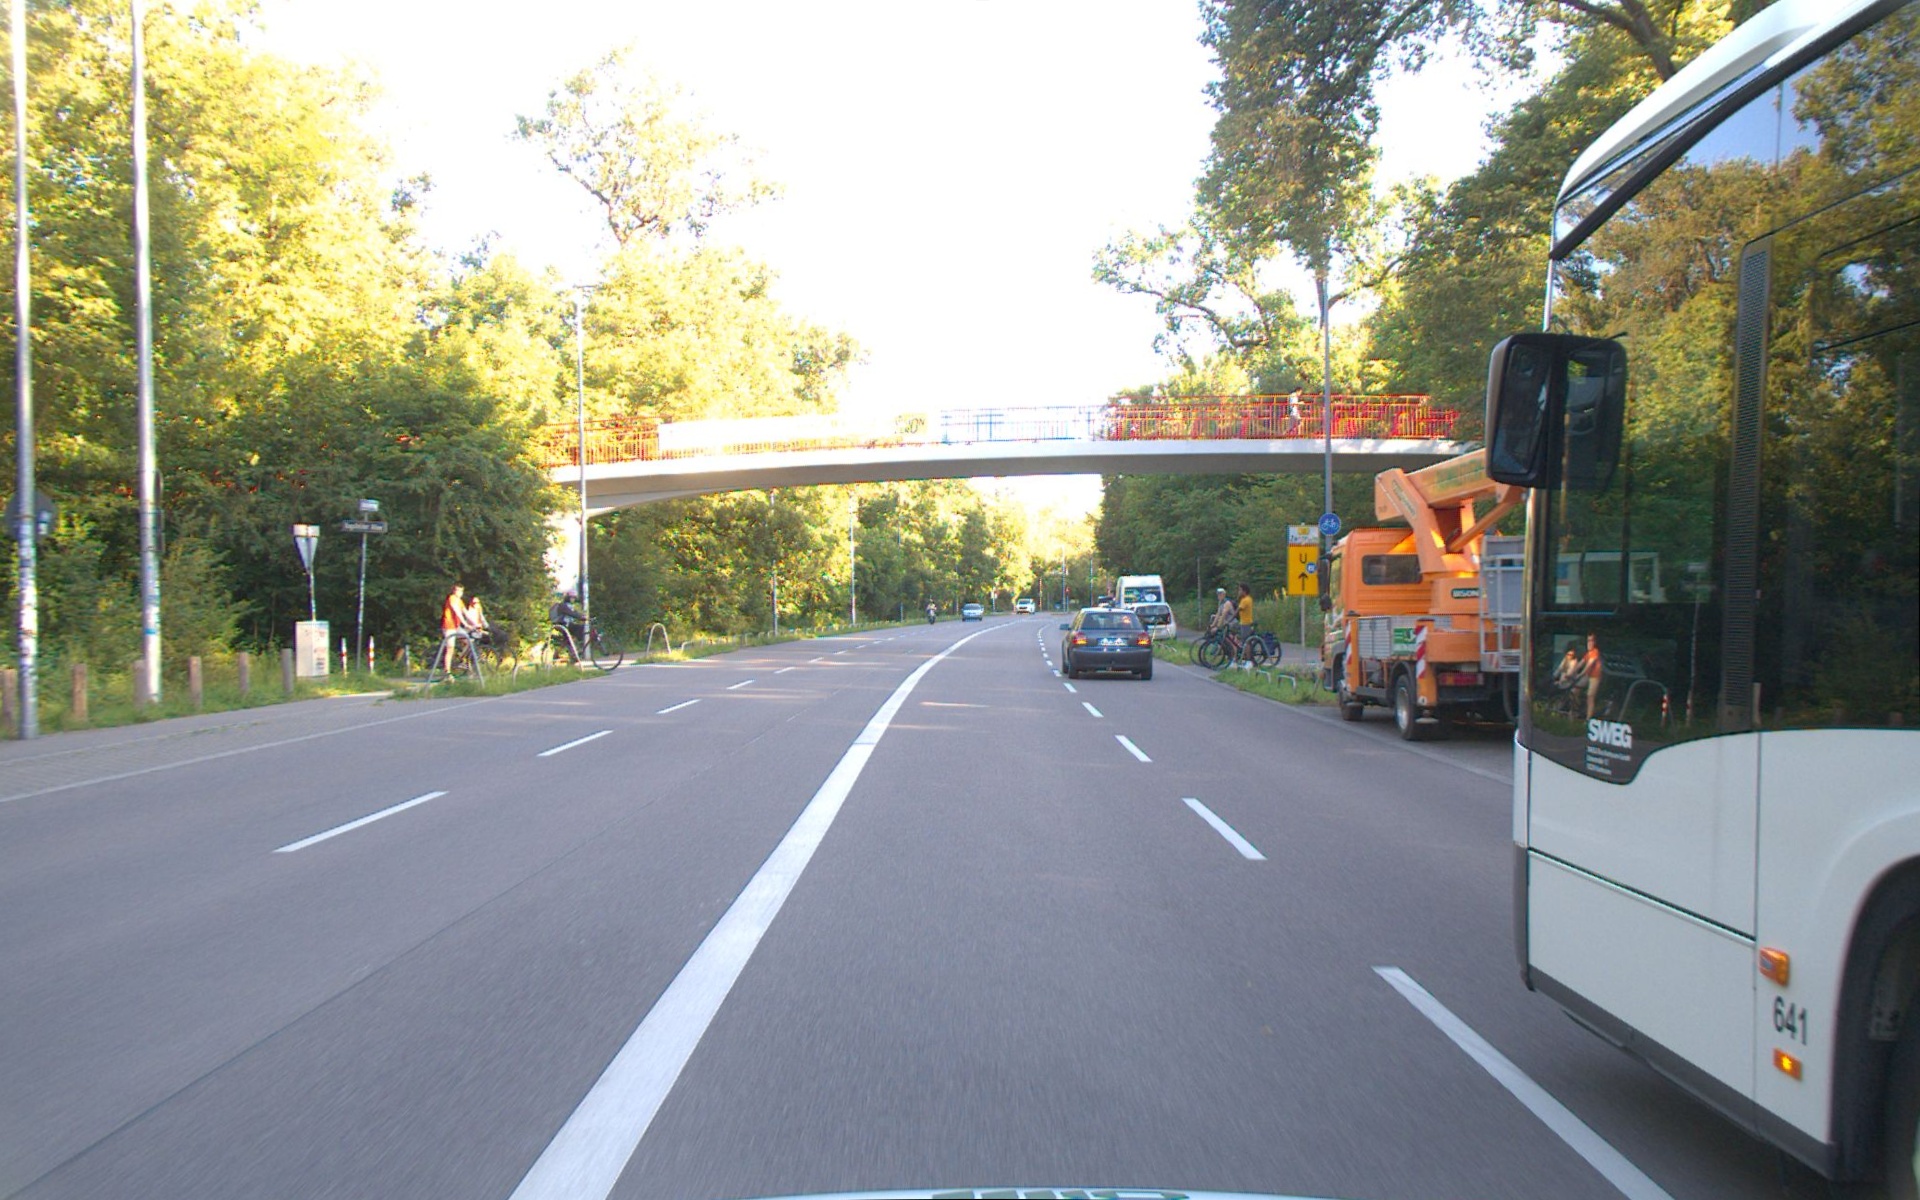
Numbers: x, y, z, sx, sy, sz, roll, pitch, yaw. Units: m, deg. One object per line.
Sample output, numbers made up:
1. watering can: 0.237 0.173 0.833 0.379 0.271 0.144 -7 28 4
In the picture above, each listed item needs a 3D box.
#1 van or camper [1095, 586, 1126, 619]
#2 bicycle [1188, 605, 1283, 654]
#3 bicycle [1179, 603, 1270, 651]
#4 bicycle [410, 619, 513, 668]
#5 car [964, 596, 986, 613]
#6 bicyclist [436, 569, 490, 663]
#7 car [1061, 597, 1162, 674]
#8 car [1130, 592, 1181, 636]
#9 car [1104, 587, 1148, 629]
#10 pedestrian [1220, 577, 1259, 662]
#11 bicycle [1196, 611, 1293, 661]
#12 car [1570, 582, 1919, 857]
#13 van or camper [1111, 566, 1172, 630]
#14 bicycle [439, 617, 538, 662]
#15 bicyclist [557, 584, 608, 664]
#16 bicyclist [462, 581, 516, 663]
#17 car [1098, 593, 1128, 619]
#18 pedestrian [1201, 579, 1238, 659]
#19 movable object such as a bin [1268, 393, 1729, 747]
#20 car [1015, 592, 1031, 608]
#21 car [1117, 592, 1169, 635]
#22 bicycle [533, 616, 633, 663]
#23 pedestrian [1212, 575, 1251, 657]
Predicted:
1. van or camper: 9.638 0.141 106.253 1.853 1.982 5.137 -3 0 5
2. bicycle: 6.376 0.673 38.331 2.020 1.087 0.870 -1 0 -3
3. bicycle: 6.304 0.643 39.474 2.020 1.087 0.870 -1 0 -3
4. bicycle: -10.386 0.907 34.480 1.885 0.951 0.825 -1 0 10
5. car: 1.281 0.359 140.634 1.646 1.431 3.891 -1 0 2
6. bicyclist: -10.354 0.329 34.482 0.778 1.934 0.818 -1 0 10
7. car: 3.061 0.684 34.085 1.692 1.467 4.089 0 0 0
8. car: 6.903 0.466 58.676 1.686 1.522 3.777 0 0 5
9. car: 7.708 0.353 77.196 1.791 1.900 5.076 -1 0 3
10. pedestrian: 6.312 0.425 37.382 0.685 1.885 0.938 -1 0 -3
11. bicycle: 6.422 0.805 37.373 2.020 1.087 0.870 -1 0 -3
12. car: 5.977 0.686 11.694 1.693 1.601 4.088 0 0 -2
13. van or camper: 7.600 -0.087 69.872 2.075 2.561 5.981 -1 0 2
14. bicycle: -10.187 0.852 35.763 1.885 0.951 0.825 0 0 10
15. bicyclist: -8.012 0.509 35.096 0.778 1.672 0.842 0 0 10
16. bicyclist: -10.177 0.466 35.751 0.778 1.727 0.946 -1 0 10
17. car: 8.777 0.342 95.083 1.691 1.467 4.103 0 0 5
18. pedestrian: 6.196 0.439 39.477 0.685 1.885 0.938 -1 0 -3
19. movable object such as a bin: 5.975 -0.327 19.945 2.704 3.429 7.595 -1 0 -3
20. car: 8.294 -0.036 218.431 1.952 2.027 5.000 1 -1 4
21. car: 7.000 0.497 63.588 1.687 1.522 4.147 -3 0 3
22. bicycle: -7.983 0.834 35.091 1.885 0.951 0.825 -1 0 10
23. pedestrian: 6.285 0.366 38.364 0.685 1.885 0.938 -1 0 -3
